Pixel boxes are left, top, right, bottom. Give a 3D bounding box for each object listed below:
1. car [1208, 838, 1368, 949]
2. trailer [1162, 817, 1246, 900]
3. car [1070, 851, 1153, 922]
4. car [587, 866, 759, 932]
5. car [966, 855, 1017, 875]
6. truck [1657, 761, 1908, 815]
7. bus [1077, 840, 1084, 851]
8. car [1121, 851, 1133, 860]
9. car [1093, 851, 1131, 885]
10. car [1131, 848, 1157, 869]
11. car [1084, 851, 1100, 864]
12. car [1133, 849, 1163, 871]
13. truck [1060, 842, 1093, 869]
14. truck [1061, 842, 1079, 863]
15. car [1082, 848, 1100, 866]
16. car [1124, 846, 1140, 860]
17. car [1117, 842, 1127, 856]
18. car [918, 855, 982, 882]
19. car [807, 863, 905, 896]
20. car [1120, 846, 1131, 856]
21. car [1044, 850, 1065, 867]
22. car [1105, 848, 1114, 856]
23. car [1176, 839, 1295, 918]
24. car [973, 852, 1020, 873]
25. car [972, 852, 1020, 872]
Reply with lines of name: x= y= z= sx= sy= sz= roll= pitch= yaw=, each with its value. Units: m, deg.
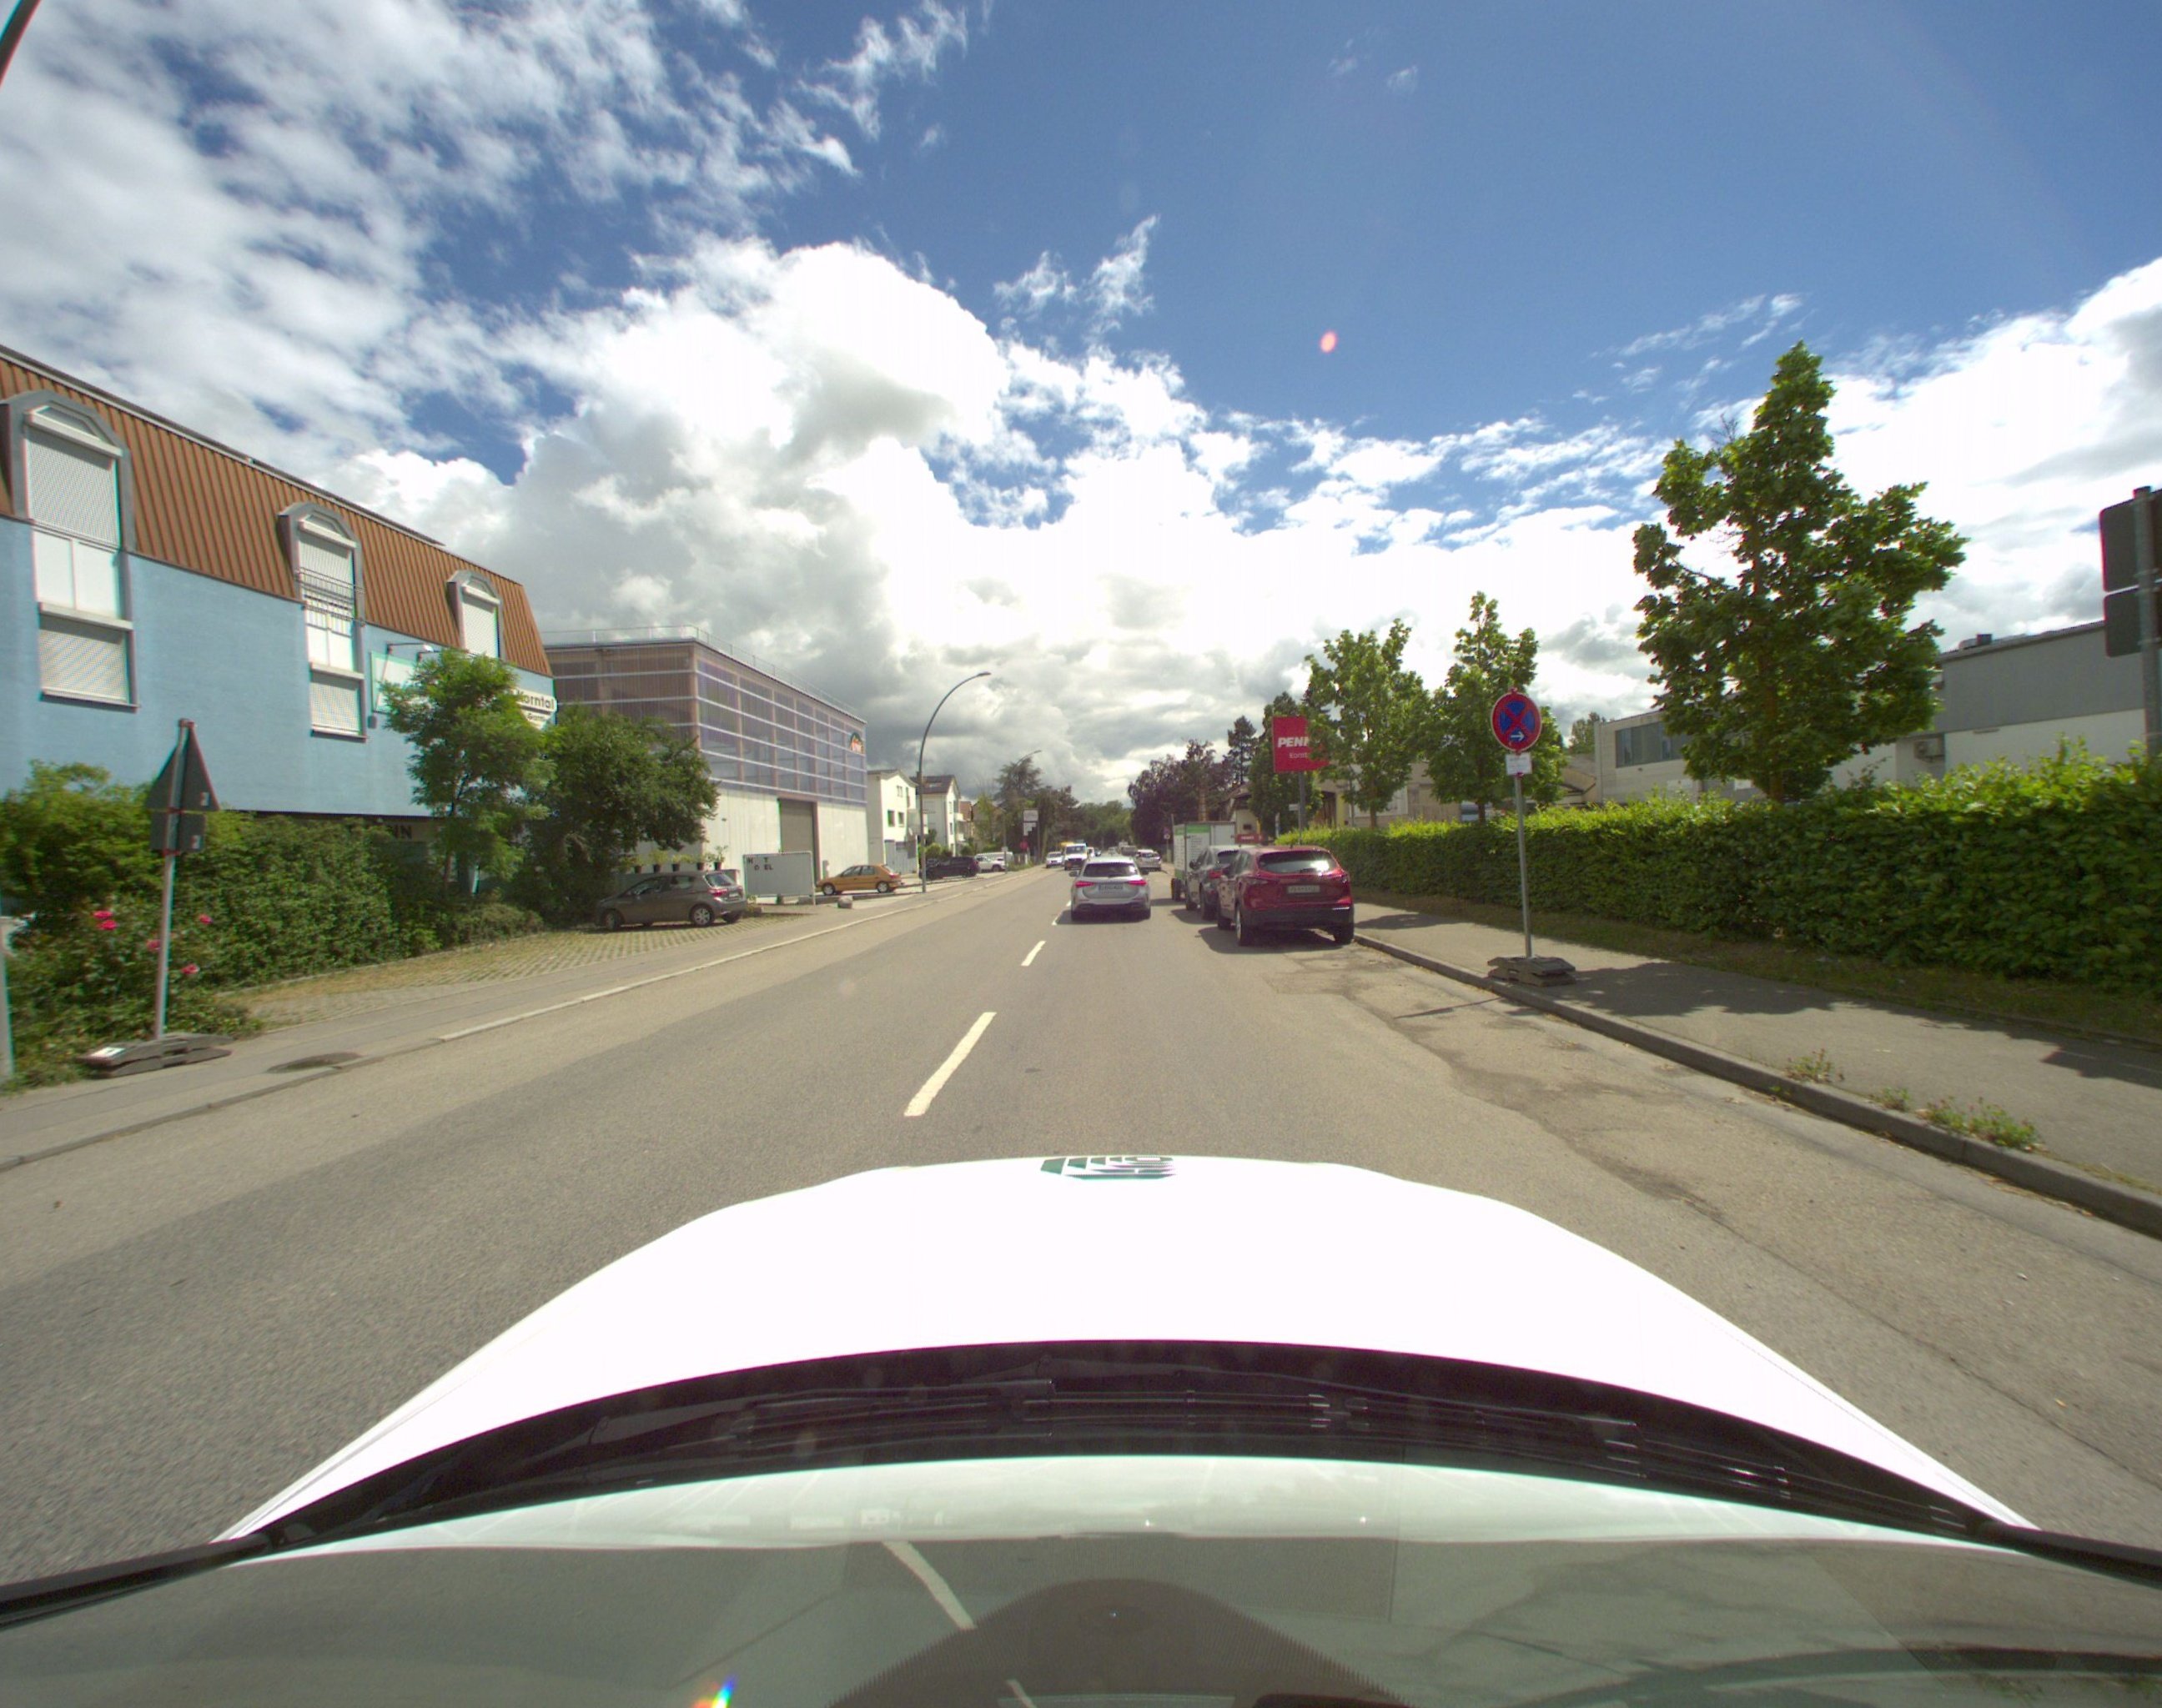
car: x=3.457 y=0.569 z=14.489 sx=1.933 sy=1.571 sz=4.451 roll=-3 pitch=0 yaw=4
trailer: x=3.758 y=0.111 z=25.691 sx=1.935 sy=2.294 sz=4.446 roll=-3 pitch=0 yaw=1
car: x=0.672 y=0.707 z=19.808 sx=1.779 sy=1.484 sz=4.316 roll=-1 pitch=0 yaw=0
car: x=-11.096 y=1.208 z=22.319 sx=3.612 sy=1.532 sz=1.982 roll=-2 pitch=0 yaw=4
car: x=-8.193 y=0.986 z=74.729 sx=4.263 sy=1.567 sz=1.992 roll=-3 pitch=-3 yaw=2
truck: x=40.830 y=-3.832 z=47.707 sx=11.932 sy=2.864 sz=2.981 roll=0 pitch=1 yaw=2
bus: x=-0.164 y=-2.506 z=245.267 sx=1.989 sy=3.364 sz=6.974 roll=0 pitch=1 yaw=-3
car: x=7.882 y=0.255 z=140.284 sx=1.779 sy=1.484 sz=4.316 roll=-1 pitch=0 yaw=0
car: x=1.568 y=0.687 z=42.302 sx=1.750 sy=1.558 sz=3.999 roll=-2 pitch=1 yaw=0
car: x=5.132 y=0.319 z=67.114 sx=1.785 sy=1.552 sz=4.575 roll=-3 pitch=1 yaw=1
car: x=1.586 y=0.455 z=118.832 sx=1.985 sy=1.733 sz=4.552 roll=-3 pitch=1 yaw=3
car: x=5.023 y=0.432 z=61.382 sx=1.786 sy=1.450 sz=4.362 roll=-3 pitch=1 yaw=0
truck: x=-0.332 y=0.100 z=71.714 sx=2.309 sy=2.178 sz=6.456 roll=-3 pitch=0 yaw=4
truck: x=-1.575 y=-0.297 z=118.719 sx=2.066 sy=2.814 sz=7.084 roll=-3 pitch=1 yaw=3
car: x=1.177 y=0.299 z=94.858 sx=1.986 sy=1.888 sz=5.118 roll=-3 pitch=1 yaw=1
car: x=7.493 y=-0.159 z=120.210 sx=2.136 sy=1.984 sz=5.264 roll=-3 pitch=0 yaw=2
car: x=7.935 y=-0.990 z=157.799 sx=1.779 sy=2.518 sz=4.316 roll=-1 pitch=0 yaw=0
car: x=-10.213 y=1.141 z=63.787 sx=4.614 sy=1.632 sz=2.196 roll=-6 pitch=1 yaw=-2
car: x=-10.707 y=1.213 z=38.977 sx=4.139 sy=1.491 sz=1.825 roll=0 pitch=1 yaw=-2
car: x=7.881 y=-0.600 z=145.507 sx=1.779 sy=1.715 sz=4.316 roll=-1 pitch=0 yaw=0
car: x=-2.739 y=0.481 z=84.992 sx=1.785 sy=1.603 sz=4.365 roll=-3 pitch=1 yaw=2
car: x=6.051 y=-0.467 z=171.435 sx=1.749 sy=1.558 sz=4.001 roll=-2 pitch=1 yaw=1
car: x=3.526 y=0.502 z=19.422 sx=1.935 sy=1.571 sz=4.445 roll=-3 pitch=0 yaw=0
car: x=-8.286 y=0.845 z=79.997 sx=4.265 sy=1.836 sz=1.991 roll=-3 pitch=-3 yaw=0
car: x=-8.111 y=0.764 z=77.664 sx=4.265 sy=1.567 sz=1.991 roll=-3 pitch=-3 yaw=0
